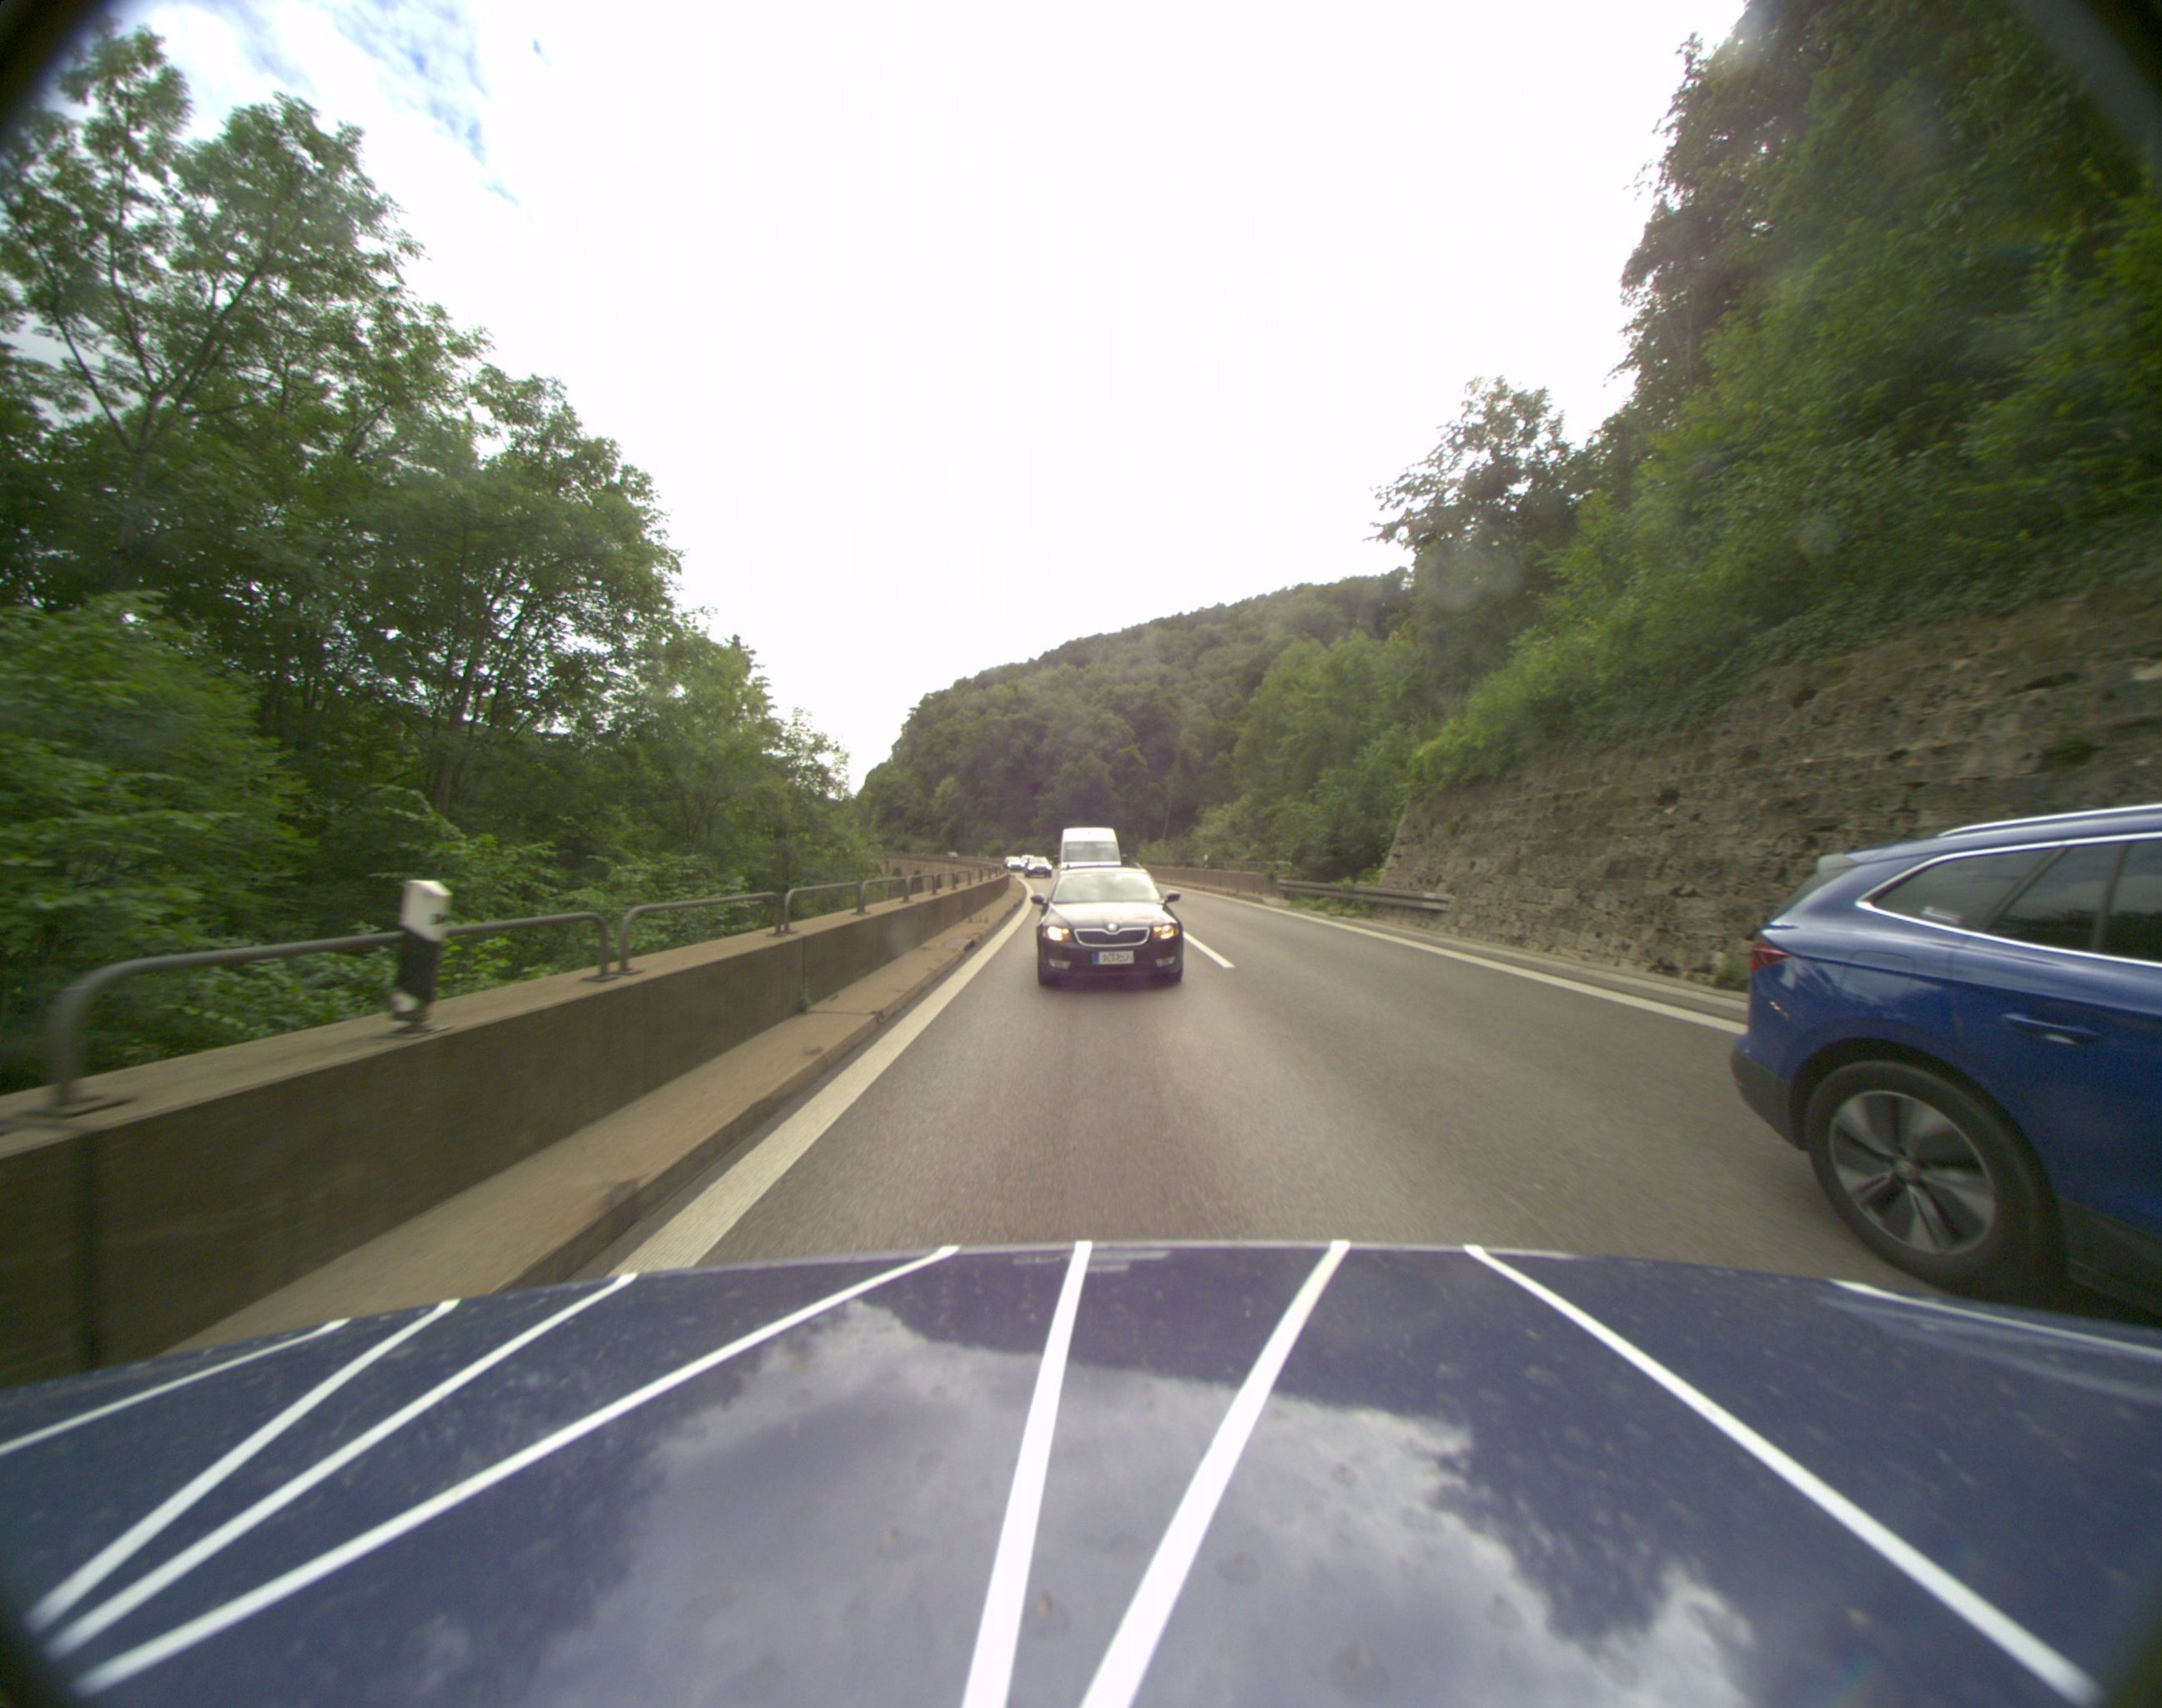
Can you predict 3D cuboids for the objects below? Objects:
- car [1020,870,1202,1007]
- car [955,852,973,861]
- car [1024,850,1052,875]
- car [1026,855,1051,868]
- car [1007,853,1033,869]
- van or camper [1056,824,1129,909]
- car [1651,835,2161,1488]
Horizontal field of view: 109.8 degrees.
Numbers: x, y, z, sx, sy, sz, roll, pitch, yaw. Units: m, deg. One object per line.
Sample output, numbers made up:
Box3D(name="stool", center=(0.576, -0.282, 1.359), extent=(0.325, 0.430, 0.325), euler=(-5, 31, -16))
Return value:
Box3D(name="car", center=(0.347, 0.983, 10.866), extent=(1.998, 1.389, 5.008), euler=(0, 0, 0))
Box3D(name="car", center=(-18.374, 0.404, 119.072), extent=(1.891, 1.312, 3.992), euler=(-2, 1, -23))
Box3D(name="car", center=(-3.160, 0.590, 55.298), extent=(1.965, 1.696, 3.997), euler=(-1, 1, -5))
Box3D(name="car", center=(-4.524, 0.784, 80.292), extent=(1.890, 1.312, 3.994), euler=(-2, 1, -15))
Box3D(name="car", center=(-5.757, 0.631, 71.541), extent=(1.890, 1.312, 3.995), euler=(-1, 1, -13))
Box3D(name="van or camper", center=(0.264, 0.376, 26.078), extent=(2.082, 2.575, 5.910), euler=(-1, 0, -3))
Box3D(name="car", center=(3.693, 0.771, 1.160), extent=(1.998, 1.622, 5.009), euler=(-2, 0, 2))
